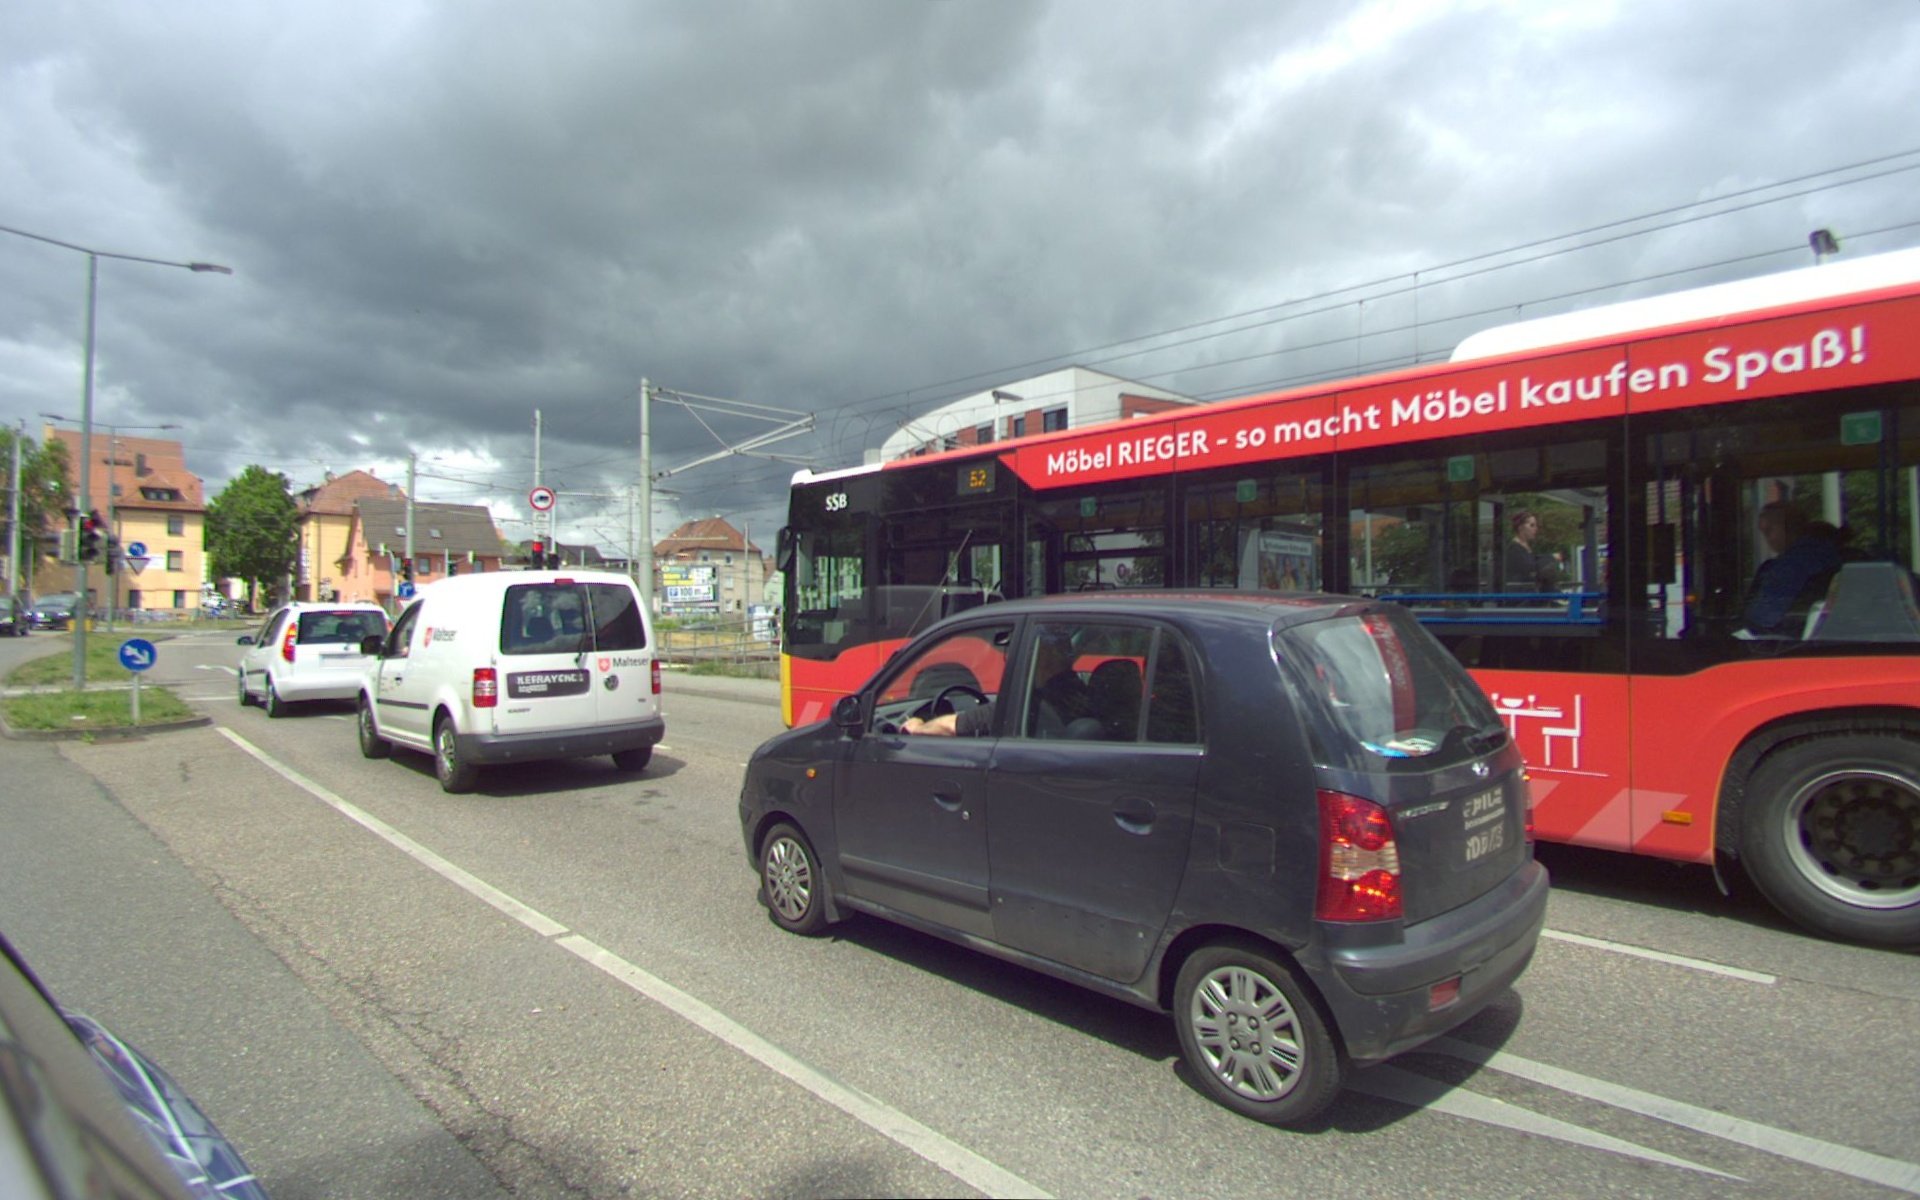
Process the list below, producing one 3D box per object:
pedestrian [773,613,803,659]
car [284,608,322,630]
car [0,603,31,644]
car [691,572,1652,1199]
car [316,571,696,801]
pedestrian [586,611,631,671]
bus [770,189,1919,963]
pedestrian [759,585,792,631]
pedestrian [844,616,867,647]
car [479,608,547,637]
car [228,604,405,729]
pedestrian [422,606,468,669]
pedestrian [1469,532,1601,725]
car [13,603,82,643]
[{"bbox_3d":[-6.123,1.261,36.054,0.822,1.608,0.643,2,-1,-43],"label":"pedestrian"},{"bbox_3d":[-57.875,1.700,89.122,2.049,1.912,4.668,1,-1,-42],"label":"car"},{"bbox_3d":[-37.133,0.926,38.769,1.853,1.440,4.008,1,-3,-37],"label":"car"},{"bbox_3d":[0.495,0.734,4.238,1.512,1.563,3.735,0,0,-44],"label":"car"},{"bbox_3d":[-4.479,0.643,9.586,4.508,1.675,1.741,0,-2,45],"label":"car"},{"bbox_3d":[-9.320,1.079,26.840,0.790,1.552,0.835,3,-2,-45],"label":"pedestrian"},{"bbox_3d":[2.321,0.012,7.769,2.693,3.133,9.713,2,-2,-43],"label":"bus"},{"bbox_3d":[-6.910,0.304,37.876,0.850,1.649,0.922,3,-2,-39],"label":"pedestrian"},{"bbox_3d":[-6.972,2.098,67.505,1.235,2.029,1.143,2,-2,-19],"label":"pedestrian"},{"bbox_3d":[-29.870,1.490,67.881,1.975,1.836,5.064,1,0,5],"label":"car"},{"bbox_3d":[-10.004,0.933,15.608,1.678,1.661,4.084,1,-2,-41],"label":"car"},{"bbox_3d":[-13.486,0.970,26.500,0.669,1.616,0.825,0,-2,34],"label":"pedestrian"},{"bbox_3d":[6.467,0.315,11.383,0.959,2.029,1.030,2,-2,-40],"label":"pedestrian"},{"bbox_3d":[-41.602,1.090,46.225,1.968,1.662,4.429,1,-3,-38],"label":"car"}]
